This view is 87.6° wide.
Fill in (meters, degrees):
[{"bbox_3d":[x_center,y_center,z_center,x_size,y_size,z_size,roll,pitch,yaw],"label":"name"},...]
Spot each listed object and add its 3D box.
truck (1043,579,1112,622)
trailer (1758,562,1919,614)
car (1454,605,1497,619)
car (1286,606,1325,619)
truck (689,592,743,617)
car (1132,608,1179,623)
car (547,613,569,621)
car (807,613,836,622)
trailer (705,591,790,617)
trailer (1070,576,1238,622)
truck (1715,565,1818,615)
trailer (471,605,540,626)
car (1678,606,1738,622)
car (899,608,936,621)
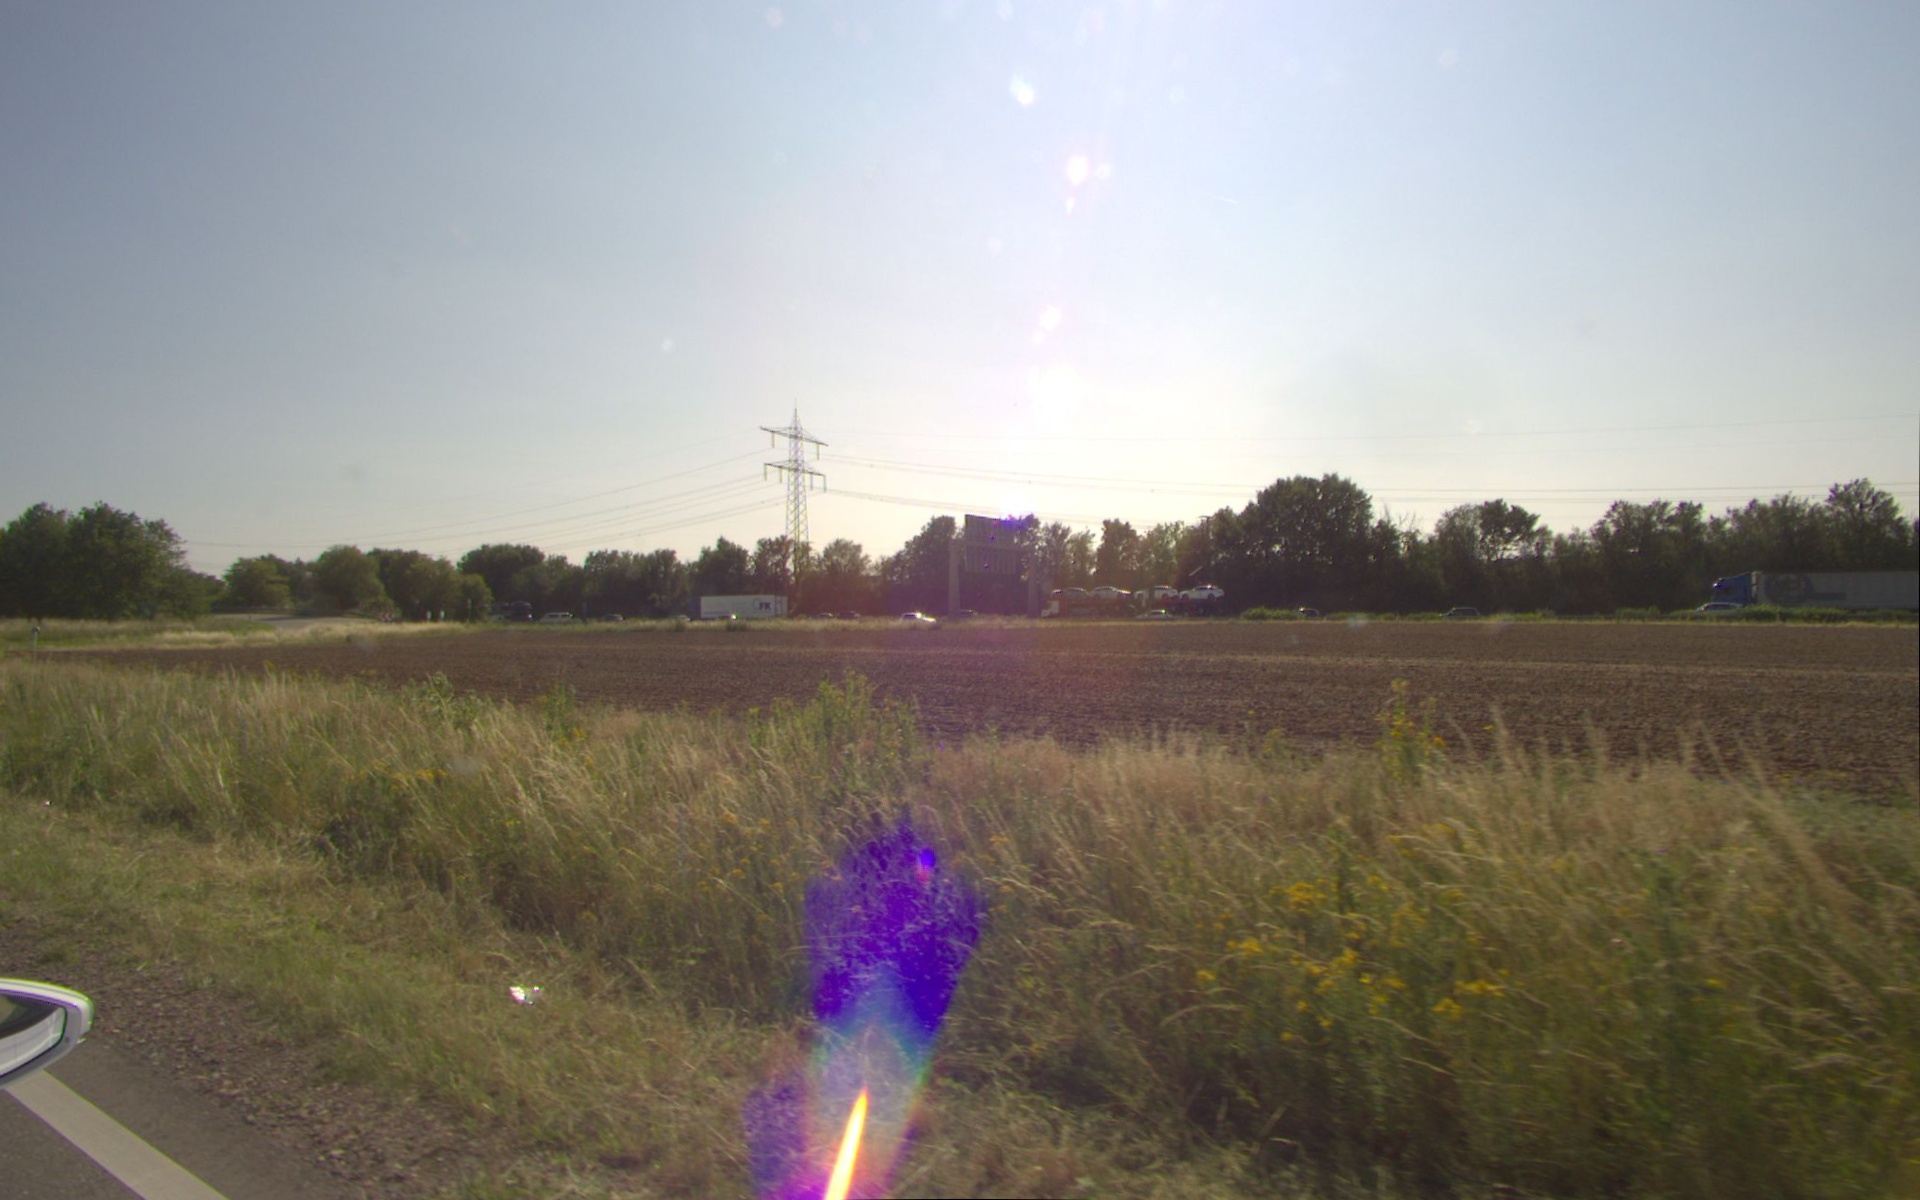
[{"bbox_3d":[12.879,0.109,109.714,6.606,4.512,3.416,-1,0,30],"label":"truck"},{"bbox_3d":[69.046,-0.816,75.664,13.439,3.782,3.065,-1,-1,33],"label":"trailer"},{"bbox_3d":[43.344,0.991,84.225,3.135,1.166,1.392,0,-1,32],"label":"car"},{"bbox_3d":[31.200,1.111,90.394,3.135,1.166,1.392,0,-1,32],"label":"car"},{"bbox_3d":[-33.760,0.649,138.622,6.876,3.310,3.279,-1,0,31],"label":"truck"},{"bbox_3d":[19.159,1.540,98.225,4.186,1.403,1.848,0,-1,32],"label":"car"},{"bbox_3d":[-57.949,2.435,144.281,3.135,1.166,1.392,0,-1,32],"label":"car"},{"bbox_3d":[-17.646,2.252,127.745,3.527,1.166,1.393,0,-1,30],"label":"car"},{"bbox_3d":[-28.890,0.568,135.707,12.273,3.310,3.278,-1,0,31],"label":"trailer"},{"bbox_3d":[20.196,-0.015,105.466,17.302,4.512,3.416,-1,0,30],"label":"trailer"},{"bbox_3d":[63.679,-0.730,79.230,6.002,3.782,3.065,-1,0,33],"label":"truck"},{"bbox_3d":[-73.408,2.471,161.648,13.254,3.310,3.279,0,0,31],"label":"trailer"},{"bbox_3d":[56.161,1.054,75.255,3.530,1.166,1.392,0,-1,33],"label":"car"},{"bbox_3d":[-4.337,1.529,102.813,3.566,1.250,1.544,0,-3,32],"label":"car"}]
